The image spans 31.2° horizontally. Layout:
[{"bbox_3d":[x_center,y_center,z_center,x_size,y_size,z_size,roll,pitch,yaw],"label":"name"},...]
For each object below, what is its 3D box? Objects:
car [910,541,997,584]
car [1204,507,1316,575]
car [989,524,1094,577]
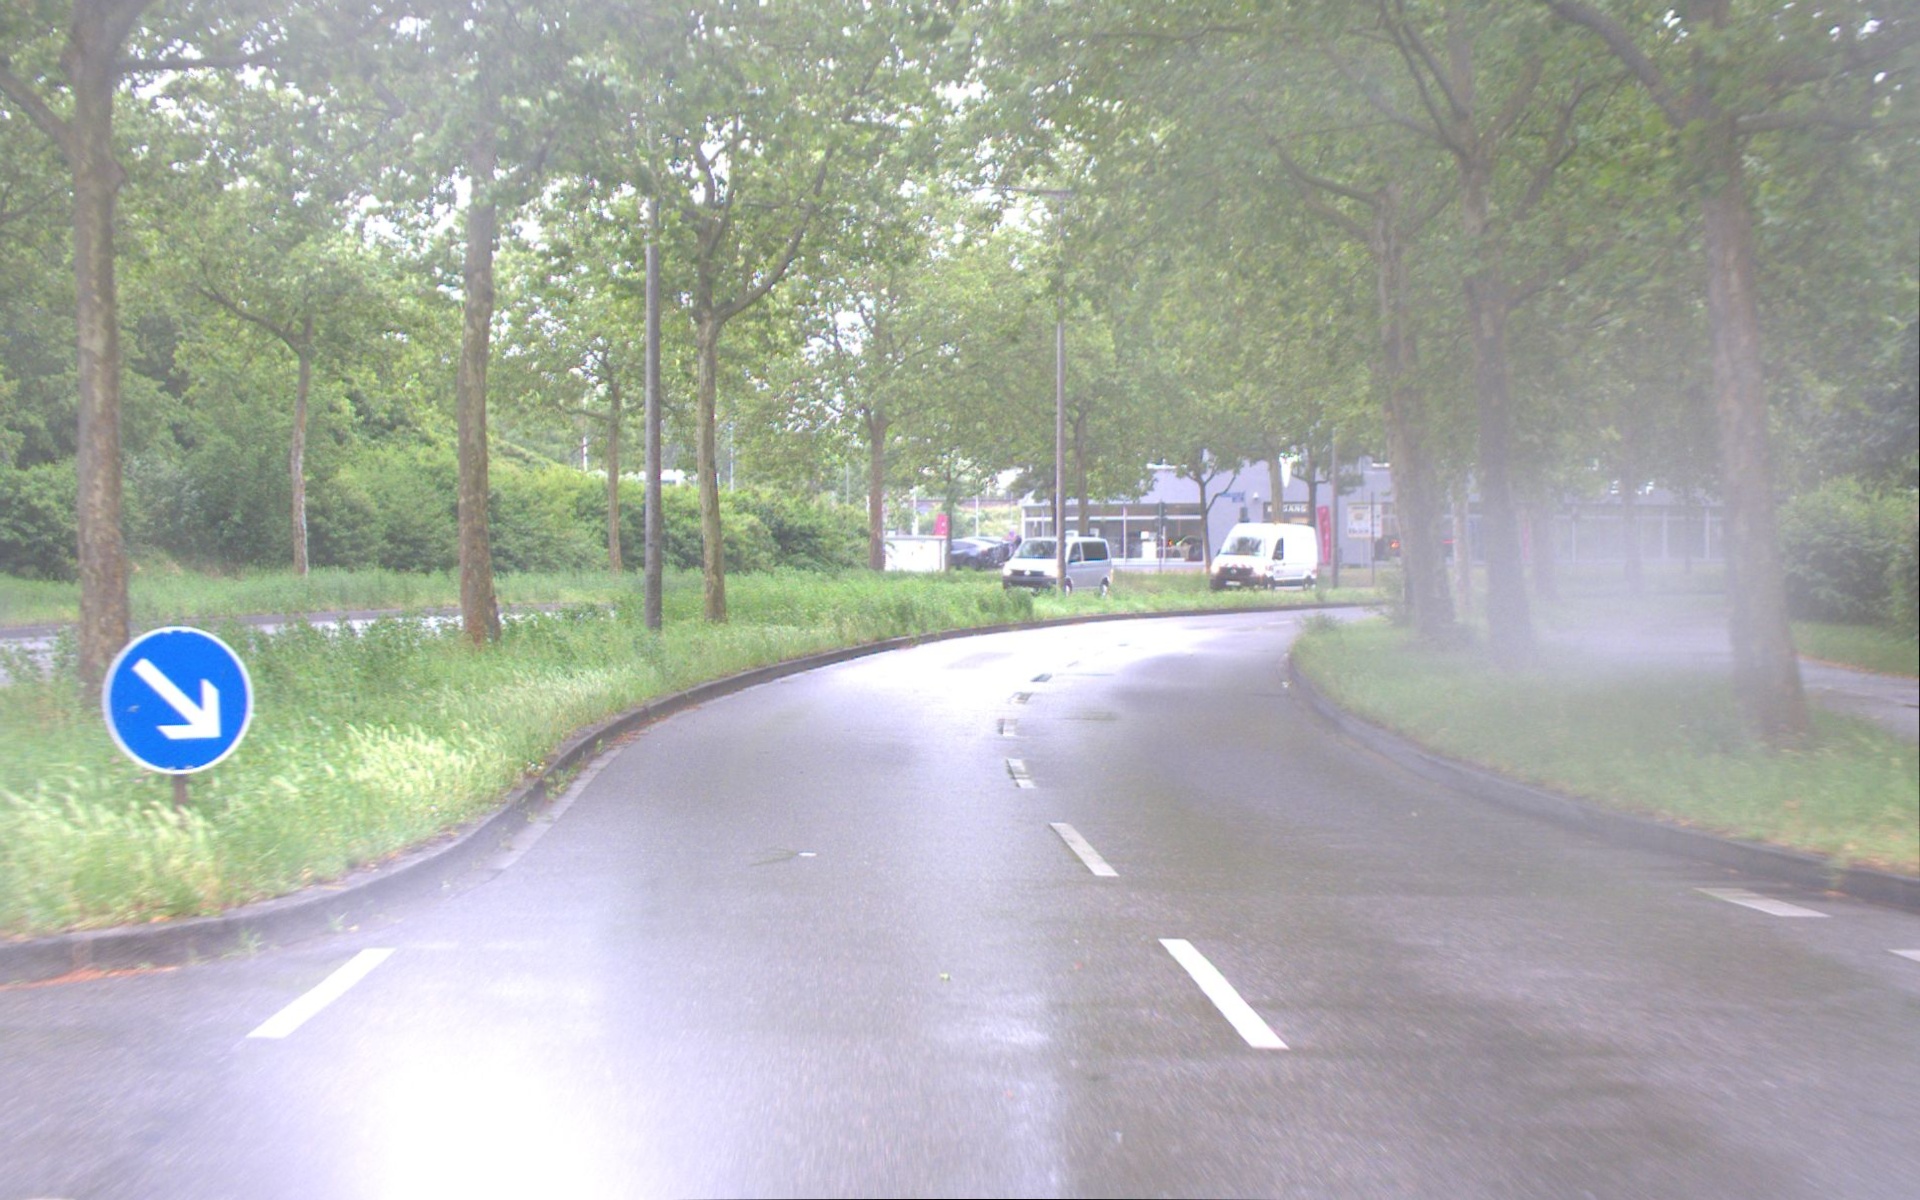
[{"bbox_3d":[-0.325,-1.822,167.572,3.986,2.007,2.000,0,-1,-8],"label":"car"},{"bbox_3d":[10.326,-2.005,117.794,2.285,2.264,5.961,0,1,21],"label":"car"},{"bbox_3d":[2.452,-1.472,101.921,1.973,1.558,4.727,0,1,16],"label":"car"}]
